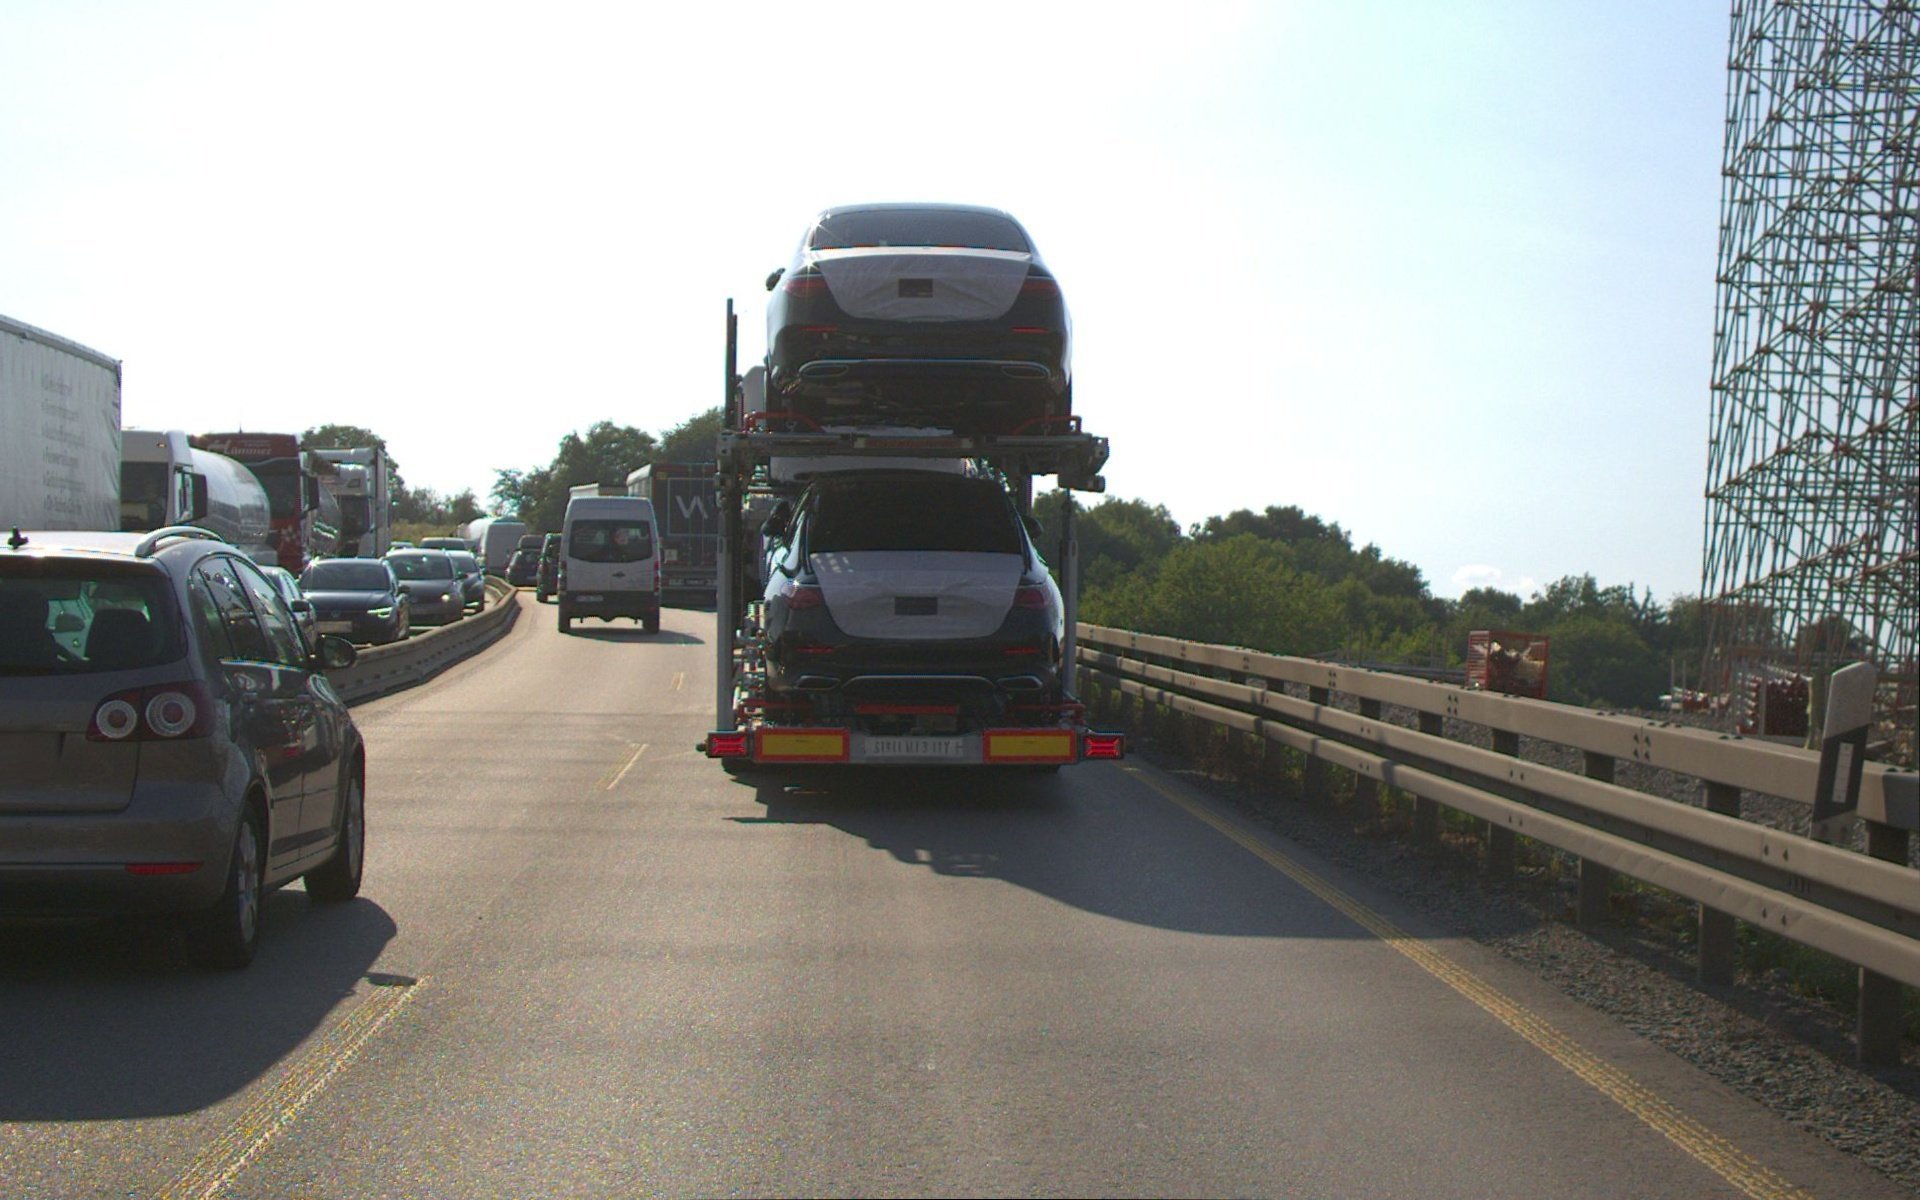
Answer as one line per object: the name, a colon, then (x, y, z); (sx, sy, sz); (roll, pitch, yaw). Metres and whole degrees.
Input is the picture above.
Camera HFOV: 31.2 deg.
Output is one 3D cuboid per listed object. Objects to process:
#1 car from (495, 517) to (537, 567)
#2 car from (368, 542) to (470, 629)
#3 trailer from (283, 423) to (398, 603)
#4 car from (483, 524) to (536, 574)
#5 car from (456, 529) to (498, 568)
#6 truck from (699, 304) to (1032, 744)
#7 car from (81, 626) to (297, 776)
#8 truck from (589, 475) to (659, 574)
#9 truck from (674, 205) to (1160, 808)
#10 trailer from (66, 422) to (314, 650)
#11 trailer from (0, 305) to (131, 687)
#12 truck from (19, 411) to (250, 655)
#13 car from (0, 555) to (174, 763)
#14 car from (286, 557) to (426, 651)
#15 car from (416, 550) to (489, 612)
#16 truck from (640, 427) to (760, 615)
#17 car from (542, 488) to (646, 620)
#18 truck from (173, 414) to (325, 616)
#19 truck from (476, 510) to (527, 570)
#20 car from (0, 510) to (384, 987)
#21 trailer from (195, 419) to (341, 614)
car: (-18.565, -2.406, 143.646); (1.629, 2.007, 4.001); (1, 0, -9)
car: (-10.281, -0.283, 65.531); (1.750, 1.581, 3.944); (1, 1, -7)
trailer: (-15.862, -2.170, 88.532); (2.475, 4.314, 10.514); (1, 1, -8)
car: (-16.391, -1.855, 125.220); (1.826, 1.766, 4.001); (1, 1, -7)
car: (-23.679, -2.521, 168.632); (1.837, 1.829, 4.001); (1, 1, -6)
truck: (-1.099, -0.701, 34.832); (2.837, 3.779, 9.988); (1, 1, -3)
car: (-7.912, 1.005, 35.565); (1.607, 1.371, 3.901); (1, 1, -4)
truck: (-12.995, -2.853, 132.619); (2.530, 3.635, 8.907); (1, 1, -6)
truck: (-0.547, -0.592, 25.383); (2.799, 3.485, 10.607); (1, 1, -3)
trailer: (-12.561, -1.008, 57.064); (2.306, 3.350, 12.054); (1, 1, -5)
trailer: (-11.222, -1.097, 36.594); (2.427, 3.949, 14.101); (1, 1, -5)
truck: (-12.054, -0.954, 50.582); (2.413, 3.358, 5.618); (1, 0, -5)
car: (-7.293, 0.379, 26.217); (1.777, 1.445, 4.664); (1, 1, -3)
car: (-9.459, 0.044, 54.078); (1.793, 1.393, 4.244); (1, 1, -5)
car: (-11.971, -0.460, 81.274); (1.627, 1.421, 4.389); (1, 1, -7)
truck: (-7.760, -2.258, 101.468); (3.285, 5.219, 9.937); (1, 0, -5)
car: (-7.211, -0.903, 68.126); (1.920, 2.484, 5.410); (1, 0, -5)
truck: (-13.907, -1.631, 67.566); (2.432, 3.772, 5.619); (1, 0, -7)
truck: (-24.796, -3.220, 185.752); (2.590, 3.159, 6.678); (1, 1, -9)
car: (-3.403, 0.471, 13.513); (1.691, 1.590, 4.000); (1, 1, -2)
trailer: (-14.574, -1.692, 73.080); (2.306, 3.777, 12.055); (1, 1, -8)
